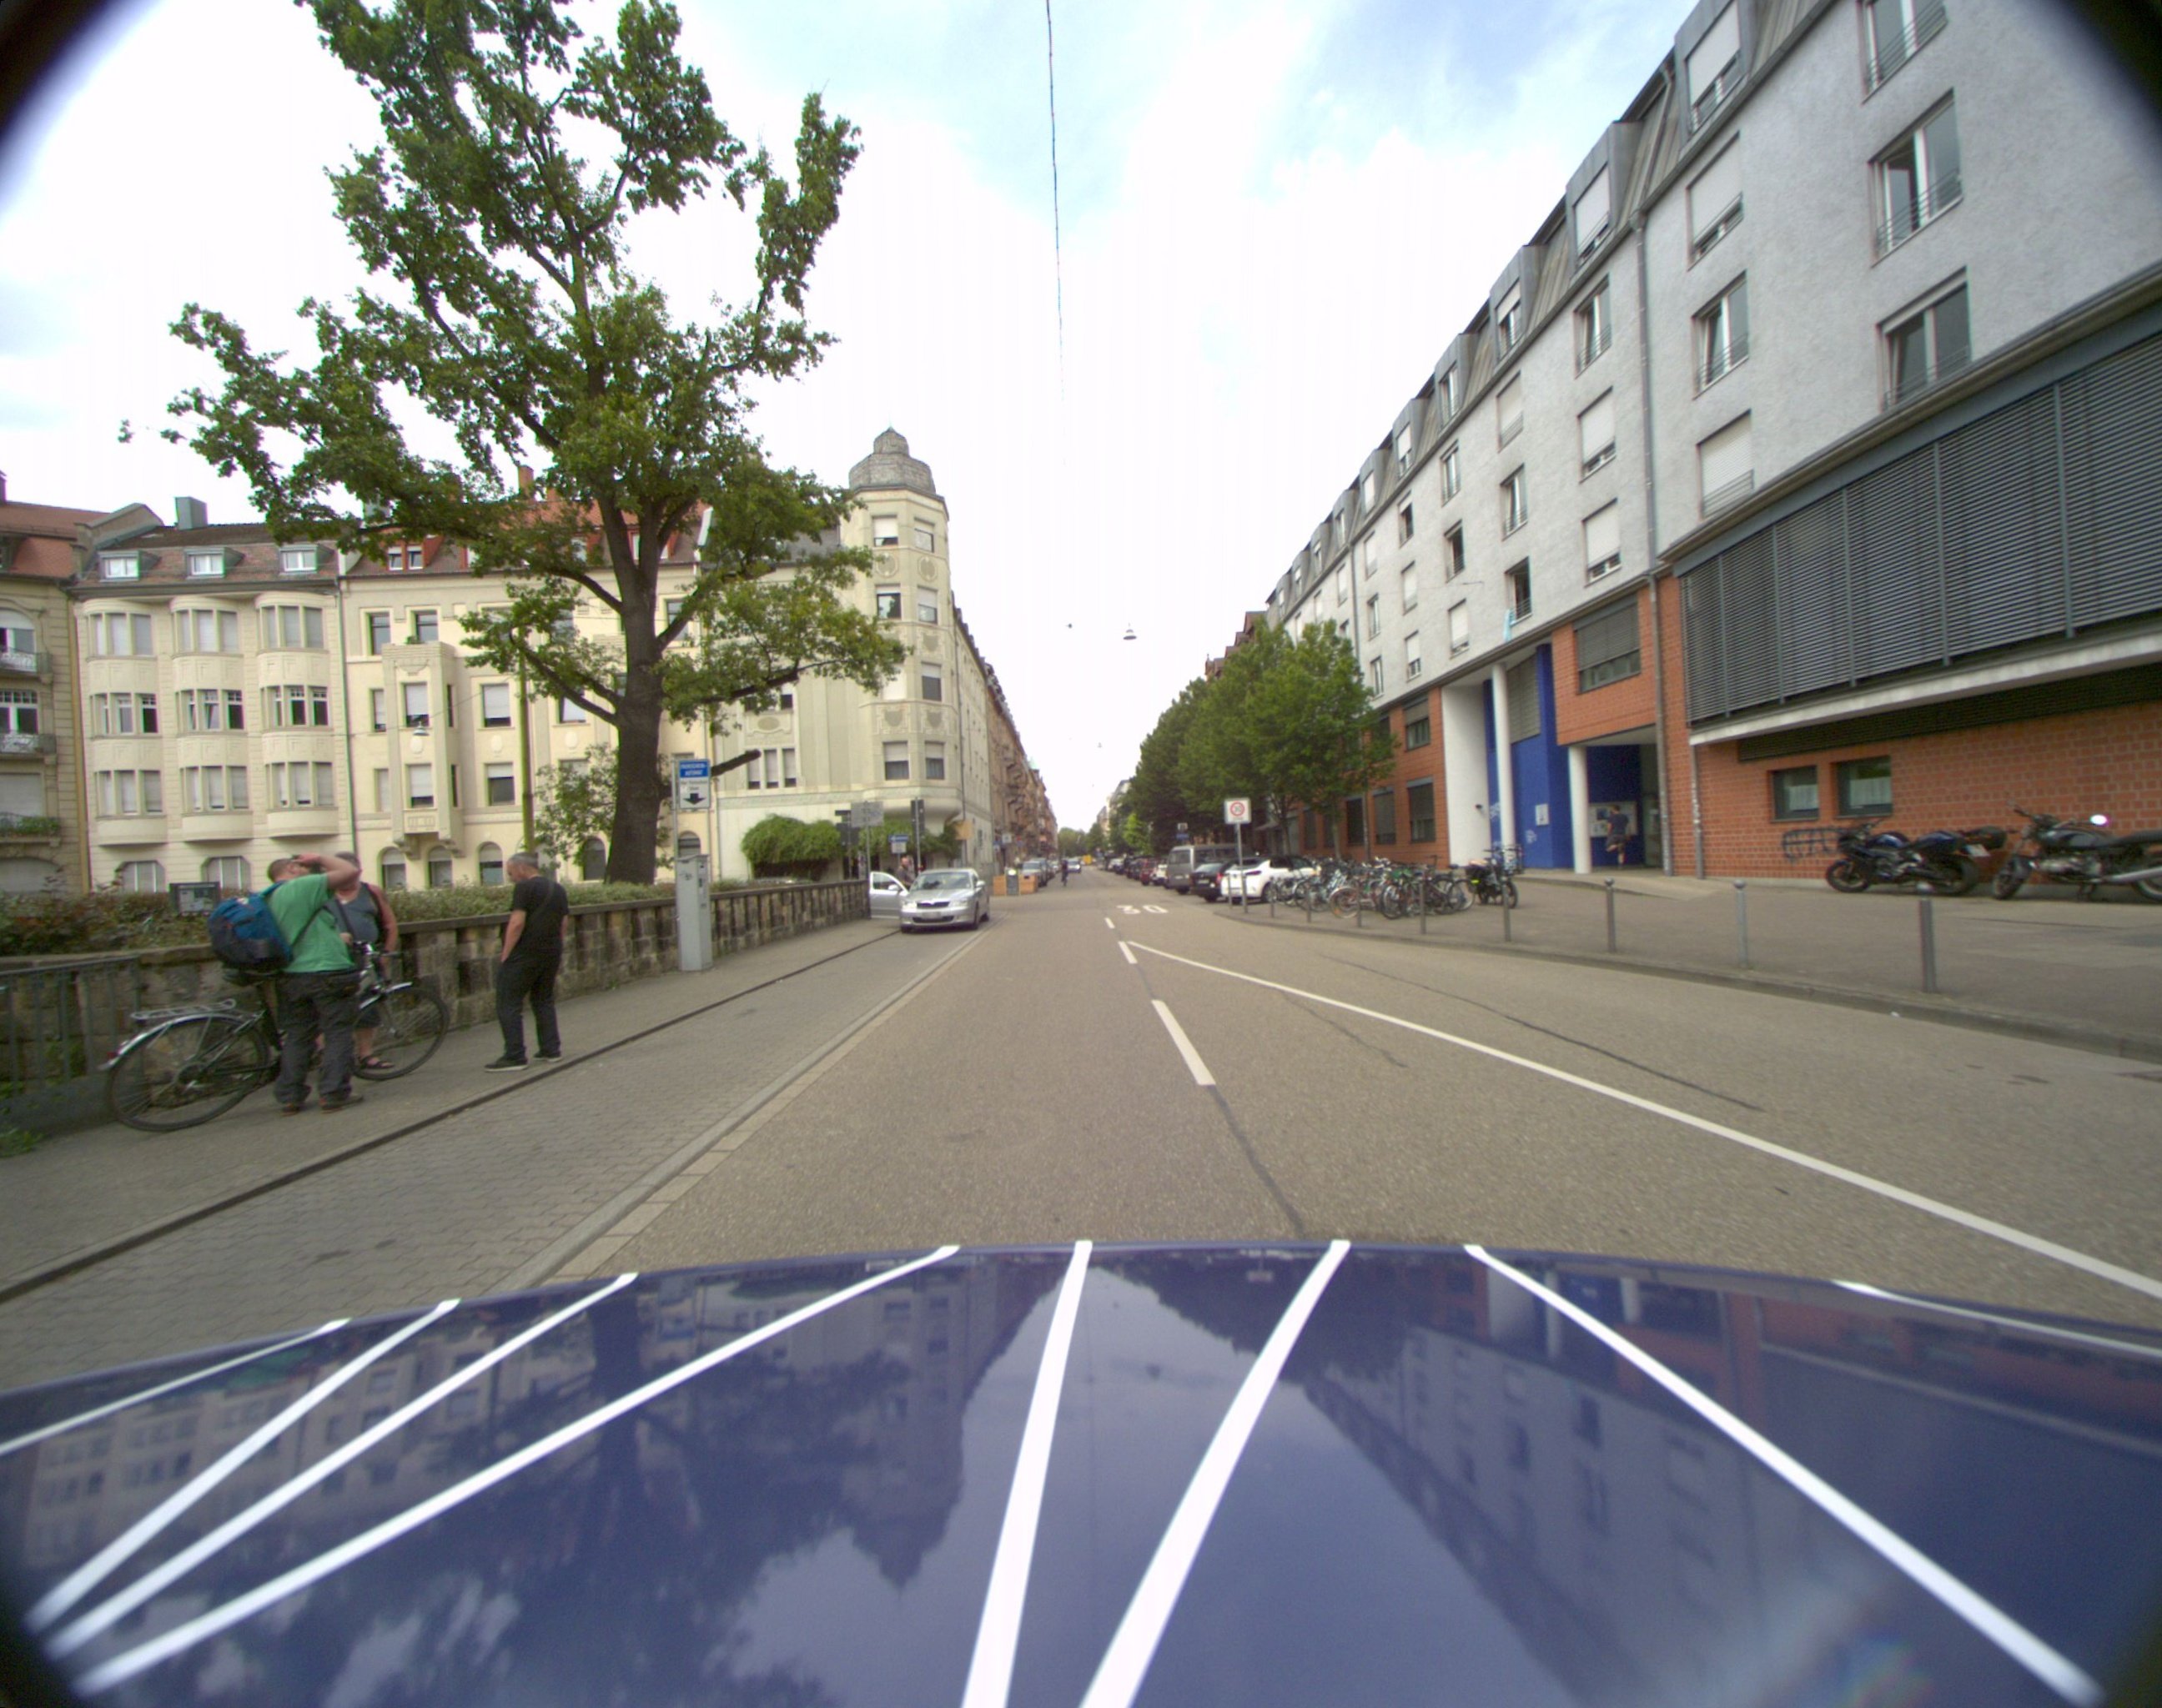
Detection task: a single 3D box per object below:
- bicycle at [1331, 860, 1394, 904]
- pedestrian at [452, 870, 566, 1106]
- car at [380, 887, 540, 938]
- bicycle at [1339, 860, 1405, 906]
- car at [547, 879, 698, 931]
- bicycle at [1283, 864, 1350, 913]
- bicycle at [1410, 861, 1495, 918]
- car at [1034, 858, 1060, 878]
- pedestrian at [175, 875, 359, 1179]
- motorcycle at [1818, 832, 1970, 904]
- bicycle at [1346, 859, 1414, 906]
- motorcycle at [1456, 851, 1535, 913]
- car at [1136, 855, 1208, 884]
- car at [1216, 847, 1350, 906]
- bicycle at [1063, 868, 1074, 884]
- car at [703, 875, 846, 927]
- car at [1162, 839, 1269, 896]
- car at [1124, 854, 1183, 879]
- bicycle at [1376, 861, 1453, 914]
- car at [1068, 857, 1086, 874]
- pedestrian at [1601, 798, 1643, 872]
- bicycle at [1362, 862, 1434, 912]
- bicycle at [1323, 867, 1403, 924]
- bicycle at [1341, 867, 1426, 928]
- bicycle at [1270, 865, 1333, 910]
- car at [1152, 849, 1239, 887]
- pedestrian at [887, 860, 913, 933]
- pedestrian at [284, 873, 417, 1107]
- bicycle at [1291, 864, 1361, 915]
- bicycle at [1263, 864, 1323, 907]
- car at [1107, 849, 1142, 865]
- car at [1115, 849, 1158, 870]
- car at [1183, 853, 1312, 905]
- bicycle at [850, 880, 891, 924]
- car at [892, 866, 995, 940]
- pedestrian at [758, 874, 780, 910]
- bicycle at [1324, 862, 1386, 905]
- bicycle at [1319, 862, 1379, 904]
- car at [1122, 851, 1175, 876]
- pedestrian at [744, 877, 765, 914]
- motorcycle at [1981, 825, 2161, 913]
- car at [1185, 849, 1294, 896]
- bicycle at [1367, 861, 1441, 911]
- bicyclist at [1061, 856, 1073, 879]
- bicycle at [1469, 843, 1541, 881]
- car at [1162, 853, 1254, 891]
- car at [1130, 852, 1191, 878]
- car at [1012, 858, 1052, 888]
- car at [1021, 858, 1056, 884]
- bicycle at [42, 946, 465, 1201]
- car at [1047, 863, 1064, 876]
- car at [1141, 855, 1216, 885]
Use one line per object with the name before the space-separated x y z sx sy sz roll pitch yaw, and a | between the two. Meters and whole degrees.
bicycle | 7.153 0.709 19.317 1.409 1.020 0.402 -4 1 2
pedestrian | -4.427 0.992 5.919 0.509 1.710 0.531 -3 1 -23
car | -21.421 1.995 26.310 4.033 1.526 1.848 -3 -3 2
bicycle | 7.121 0.699 18.624 1.409 1.020 0.402 -4 1 2
car | -15.676 1.733 26.103 4.033 1.526 1.848 -3 -3 2
bicycle | 5.671 0.826 18.310 1.409 1.020 0.402 -5 0 2
bicycle | 7.350 0.700 15.057 1.409 1.020 0.402 -4 1 2
car | -2.982 1.235 67.451 1.853 1.568 4.007 -3 -1 4
pedestrian | -4.965 0.997 4.673 0.532 1.710 0.508 -3 1 -23
motorcycle | 13.029 0.213 12.249 0.585 1.042 1.657 -4 0 -2
bicycle | 7.125 0.685 18.138 1.409 1.020 0.402 -4 1 2
motorcycle | 8.429 0.546 15.539 0.585 1.166 1.779 -4 0 1
car | 5.392 0.906 44.999 4.012 1.445 1.687 -3 0 -34
car | 6.281 0.647 23.524 4.011 1.536 1.599 -3 0 -31
bicycle | -0.752 1.353 47.288 0.586 0.927 1.783 -3 0 1
car | -10.406 1.580 25.931 4.031 1.460 1.910 -3 0 9
car | 5.629 0.531 31.709 4.011 1.986 1.858 -5 1 -31
car | 5.349 0.923 55.791 4.012 1.558 1.687 -3 0 -34
bicycle | 7.136 0.715 16.299 1.409 1.020 0.402 -4 1 2
car | -0.457 1.458 96.855 1.942 1.913 4.007 -3 -1 4
pedestrian | 15.184 -0.521 21.343 0.729 2.002 0.783 -3 0 19
bicycle | 7.221 0.746 17.322 1.409 1.020 0.402 -4 1 2
bicycle | 5.811 0.852 15.668 1.409 1.032 0.402 -5 0 2
bicycle | 5.868 0.834 14.775 1.409 1.032 0.402 -5 0 2
bicycle | 5.679 0.861 19.584 1.409 1.020 0.402 -5 0 2
car | 5.629 0.678 37.272 4.012 1.605 1.709 -3 0 -34
pedestrian | -4.382 1.019 18.394 0.468 1.725 0.410 -2 0 -1
pedestrian | -5.698 1.016 5.959 0.509 1.710 0.531 -3 1 -21
bicycle | 5.678 0.822 17.668 1.409 1.032 0.402 -5 0 2
bicycle | 5.678 0.848 20.391 1.409 1.020 0.402 -5 0 2
car | 5.379 0.342 93.351 4.012 1.746 1.687 -3 0 -34
car | 5.497 0.565 75.242 4.012 1.847 1.687 -3 0 -34
car | 5.729 0.809 25.953 4.323 1.460 1.713 -3 0 -34
bicycle | -5.924 1.323 21.487 0.523 1.099 1.978 -3 0 1
car | -3.220 1.096 18.619 1.759 1.460 4.418 -3 0 -1
pedestrian | -13.415 1.631 32.699 0.548 1.452 0.634 -3 4 1
bicycle | 7.173 0.769 19.909 1.409 1.020 0.402 -4 1 2
bicycle | 7.169 0.772 20.385 1.409 1.020 0.402 -4 1 2
car | 5.562 0.763 62.119 4.051 1.847 1.687 -3 0 -34
pedestrian | -13.440 1.692 31.300 0.548 1.460 0.560 -3 1 1
motorcycle | 13.226 0.184 9.832 0.585 1.042 1.965 -5 0 -11
car | 6.145 0.693 29.339 4.012 1.501 1.706 -4 0 -34
bicycle | 7.155 0.706 16.835 1.409 1.020 0.402 -4 1 2
bicyclist | -0.858 0.834 47.363 0.649 1.408 1.094 -3 0 1
bicycle | 12.942 0.242 23.258 1.614 0.920 0.932 -9 -1 12
car | 5.807 0.803 34.553 4.012 1.438 1.621 -3 0 -34
car | 5.574 0.740 53.224 4.012 1.558 1.687 -3 0 -34
car | -2.958 1.137 46.657 1.853 1.661 4.007 -3 -1 4
car | -2.983 1.178 53.983 1.853 1.661 4.007 -3 -1 4
bicycle | -5.224 1.288 4.983 0.533 1.143 1.755 -3 0 20
car | -3.162 1.916 94.147 1.854 1.505 4.006 -3 -1 1
car | 5.517 0.892 42.787 4.012 1.381 1.593 -3 0 -34
